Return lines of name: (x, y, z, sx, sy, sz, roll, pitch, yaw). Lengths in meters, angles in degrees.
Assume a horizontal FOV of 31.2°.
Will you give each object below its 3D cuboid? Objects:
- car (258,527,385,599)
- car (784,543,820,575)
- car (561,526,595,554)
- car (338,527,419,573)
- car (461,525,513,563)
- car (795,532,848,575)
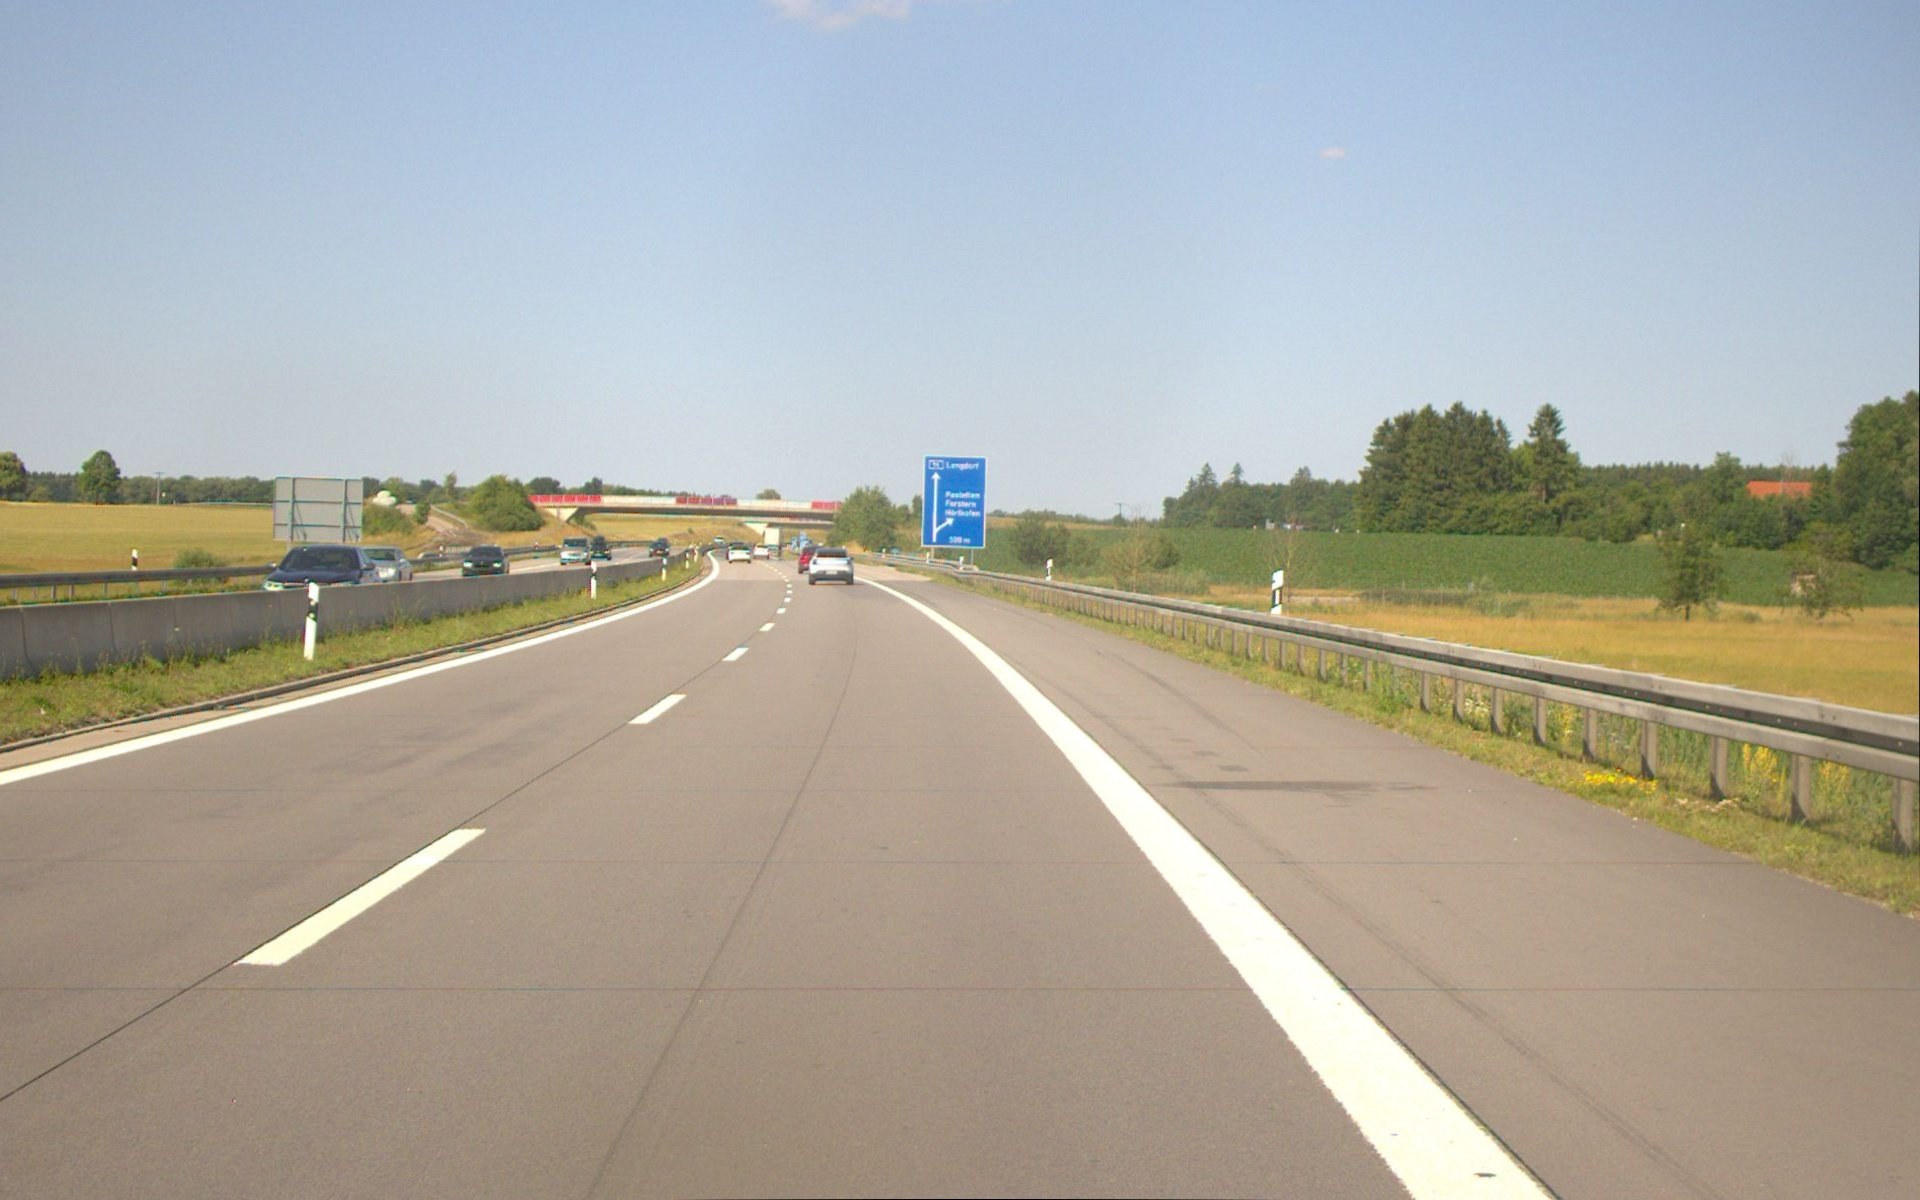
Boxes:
car: (-12.579, -0.762, 67.963, 1.822, 1.360, 4.661, 0, 1, -2)
car: (-8.969, -2.325, 194.942, 1.993, 1.725, 4.870, 1, 1, -3)
car: (-25.385, -4.025, 228.399, 1.954, 1.835, 5.450, 0, 1, -3)
car: (-17.918, -1.560, 106.114, 1.822, 1.360, 5.296, 0, 1, -2)
car: (-20.316, -2.408, 147.758, 1.858, 1.579, 4.915, 0, 1, -4)
car: (-5.855, -1.960, 144.647, 1.993, 1.725, 4.870, 1, 1, -5)
